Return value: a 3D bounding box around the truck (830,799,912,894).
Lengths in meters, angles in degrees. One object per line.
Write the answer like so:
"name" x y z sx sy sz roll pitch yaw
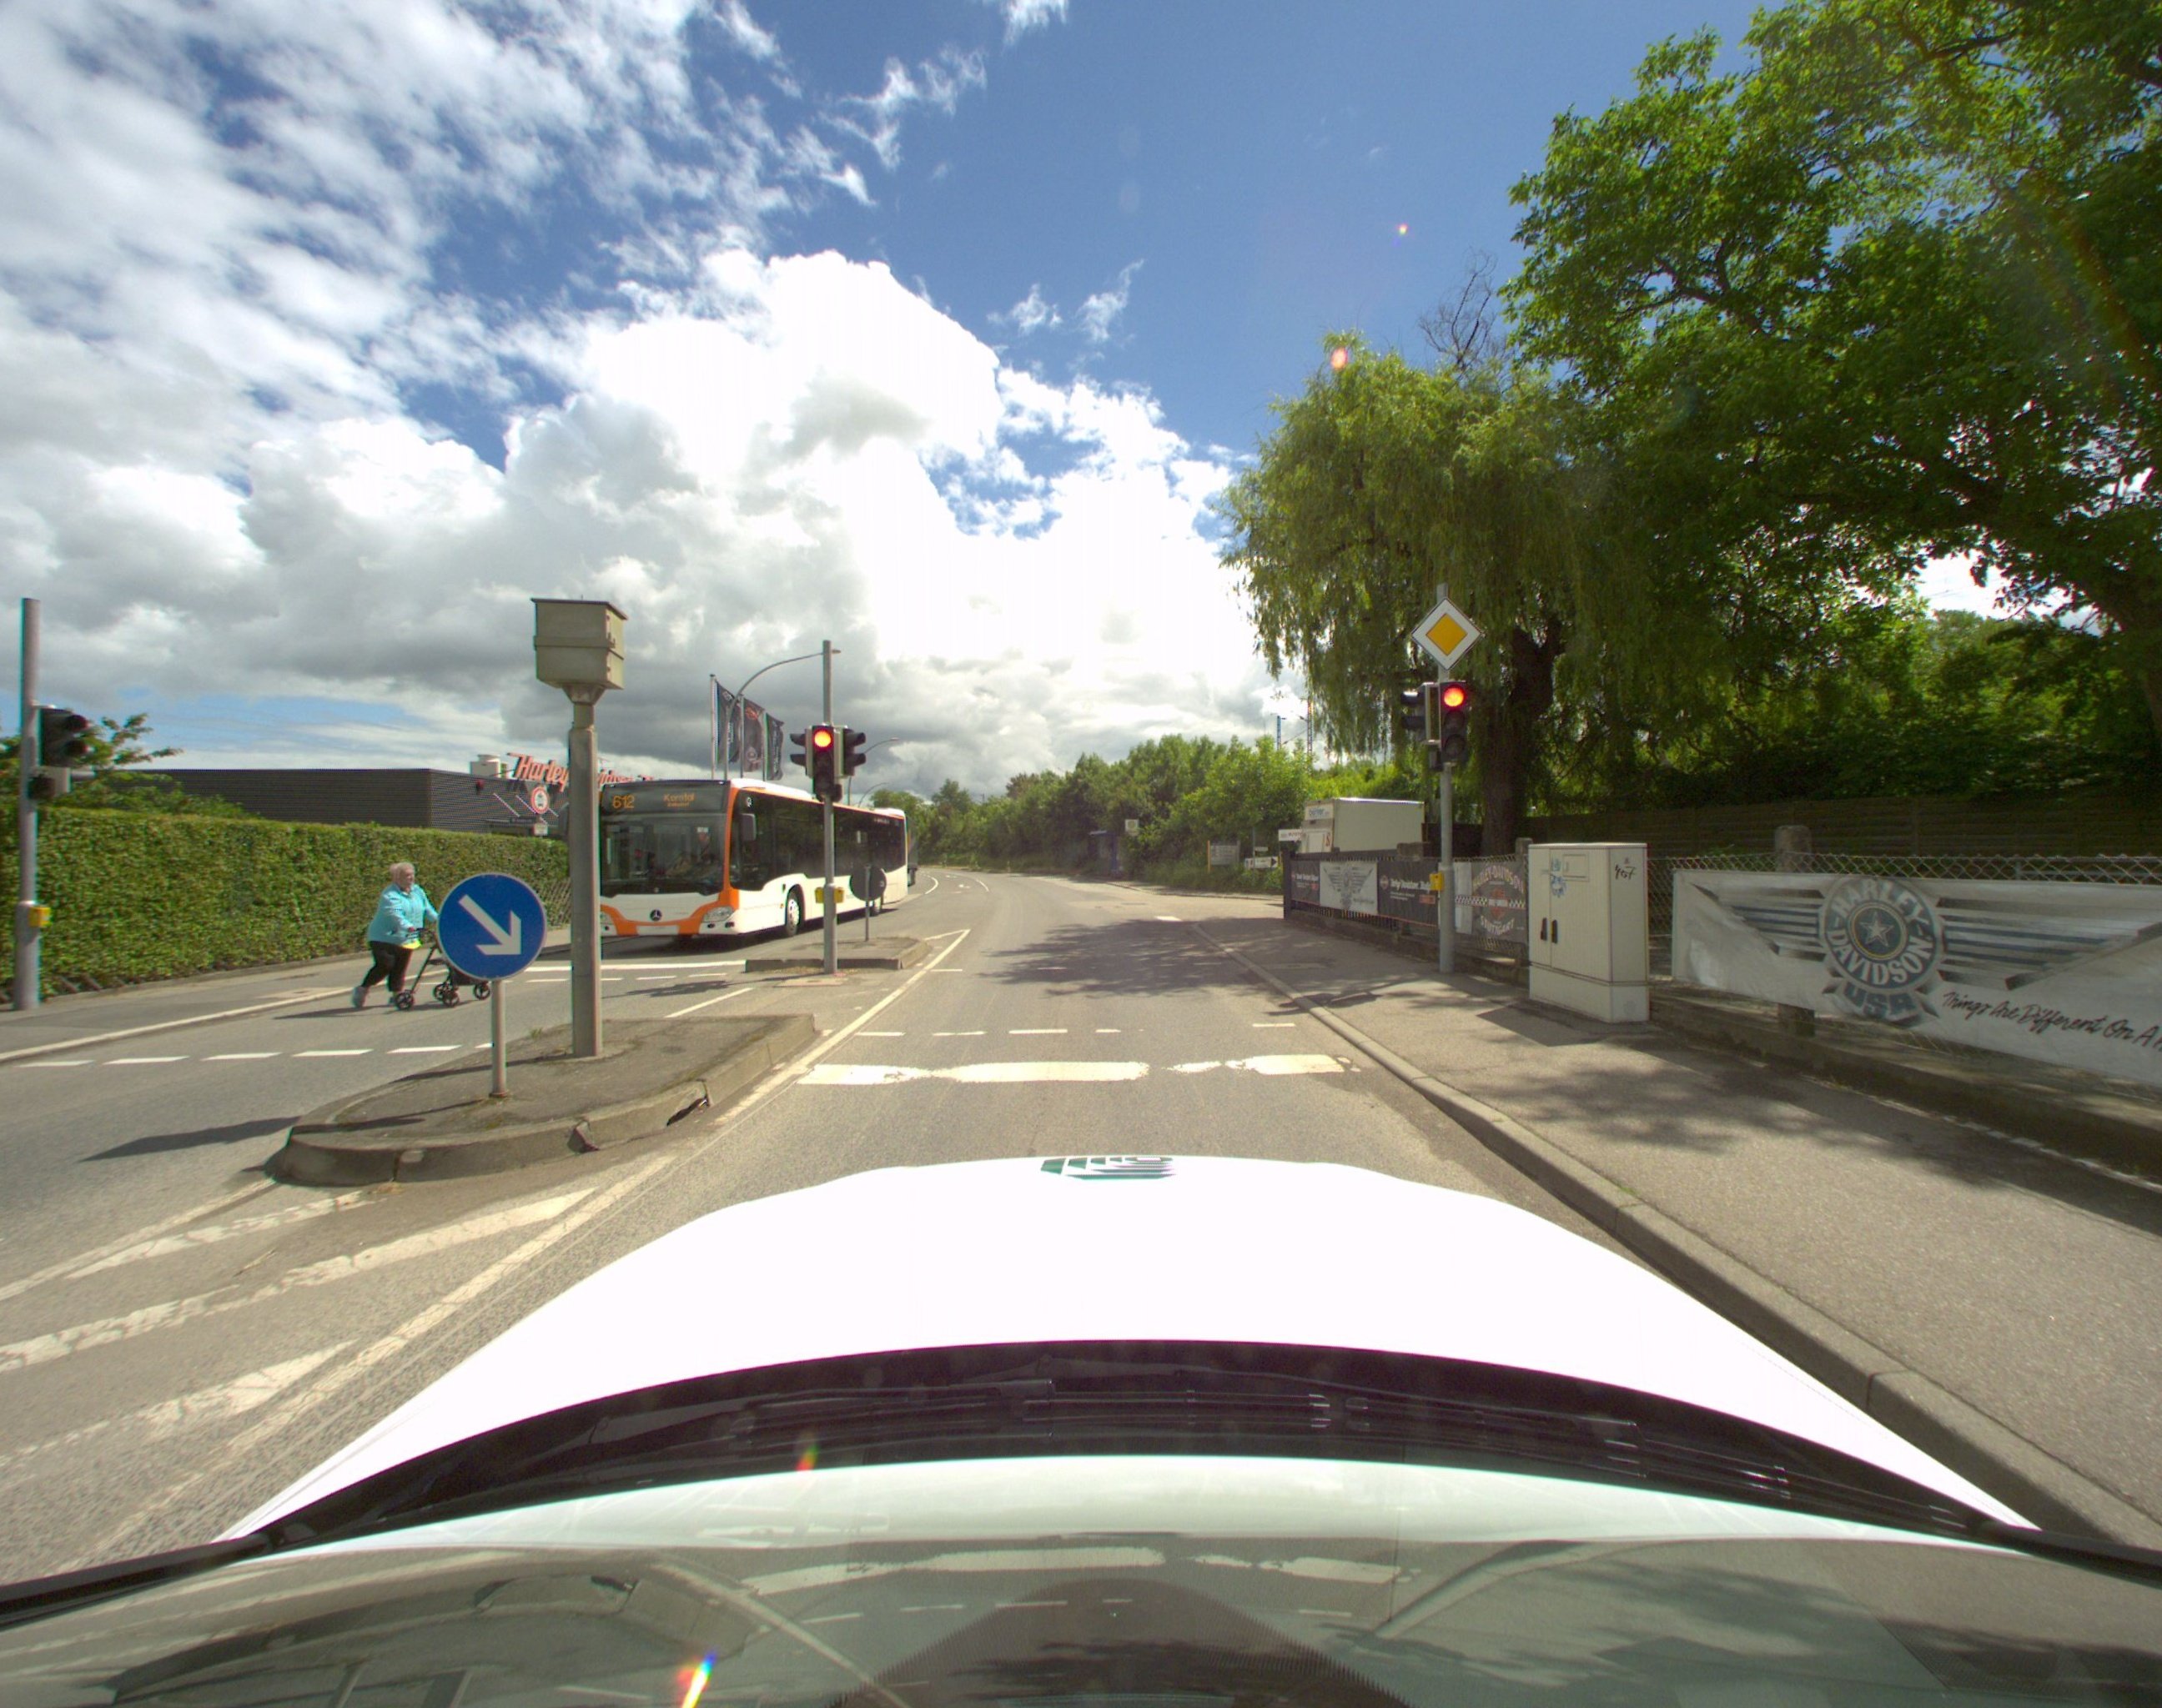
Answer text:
"truck" -10.223 -0.296 40.595 2.425 4.131 9.132 1 -1 -6

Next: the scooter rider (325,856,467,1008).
"scooter rider" -7.503 0.817 8.961 0.875 1.589 0.796 0 0 0

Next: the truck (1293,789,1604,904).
"truck" 12.499 -0.212 28.053 9.681 3.541 2.843 1 0 -7

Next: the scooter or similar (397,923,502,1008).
"scooter or similar" -6.891 1.200 8.917 0.609 0.831 0.659 1 0 0

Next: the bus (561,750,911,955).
"bus" -6.926 0.006 19.383 2.767 3.266 12.127 -2 0 2
